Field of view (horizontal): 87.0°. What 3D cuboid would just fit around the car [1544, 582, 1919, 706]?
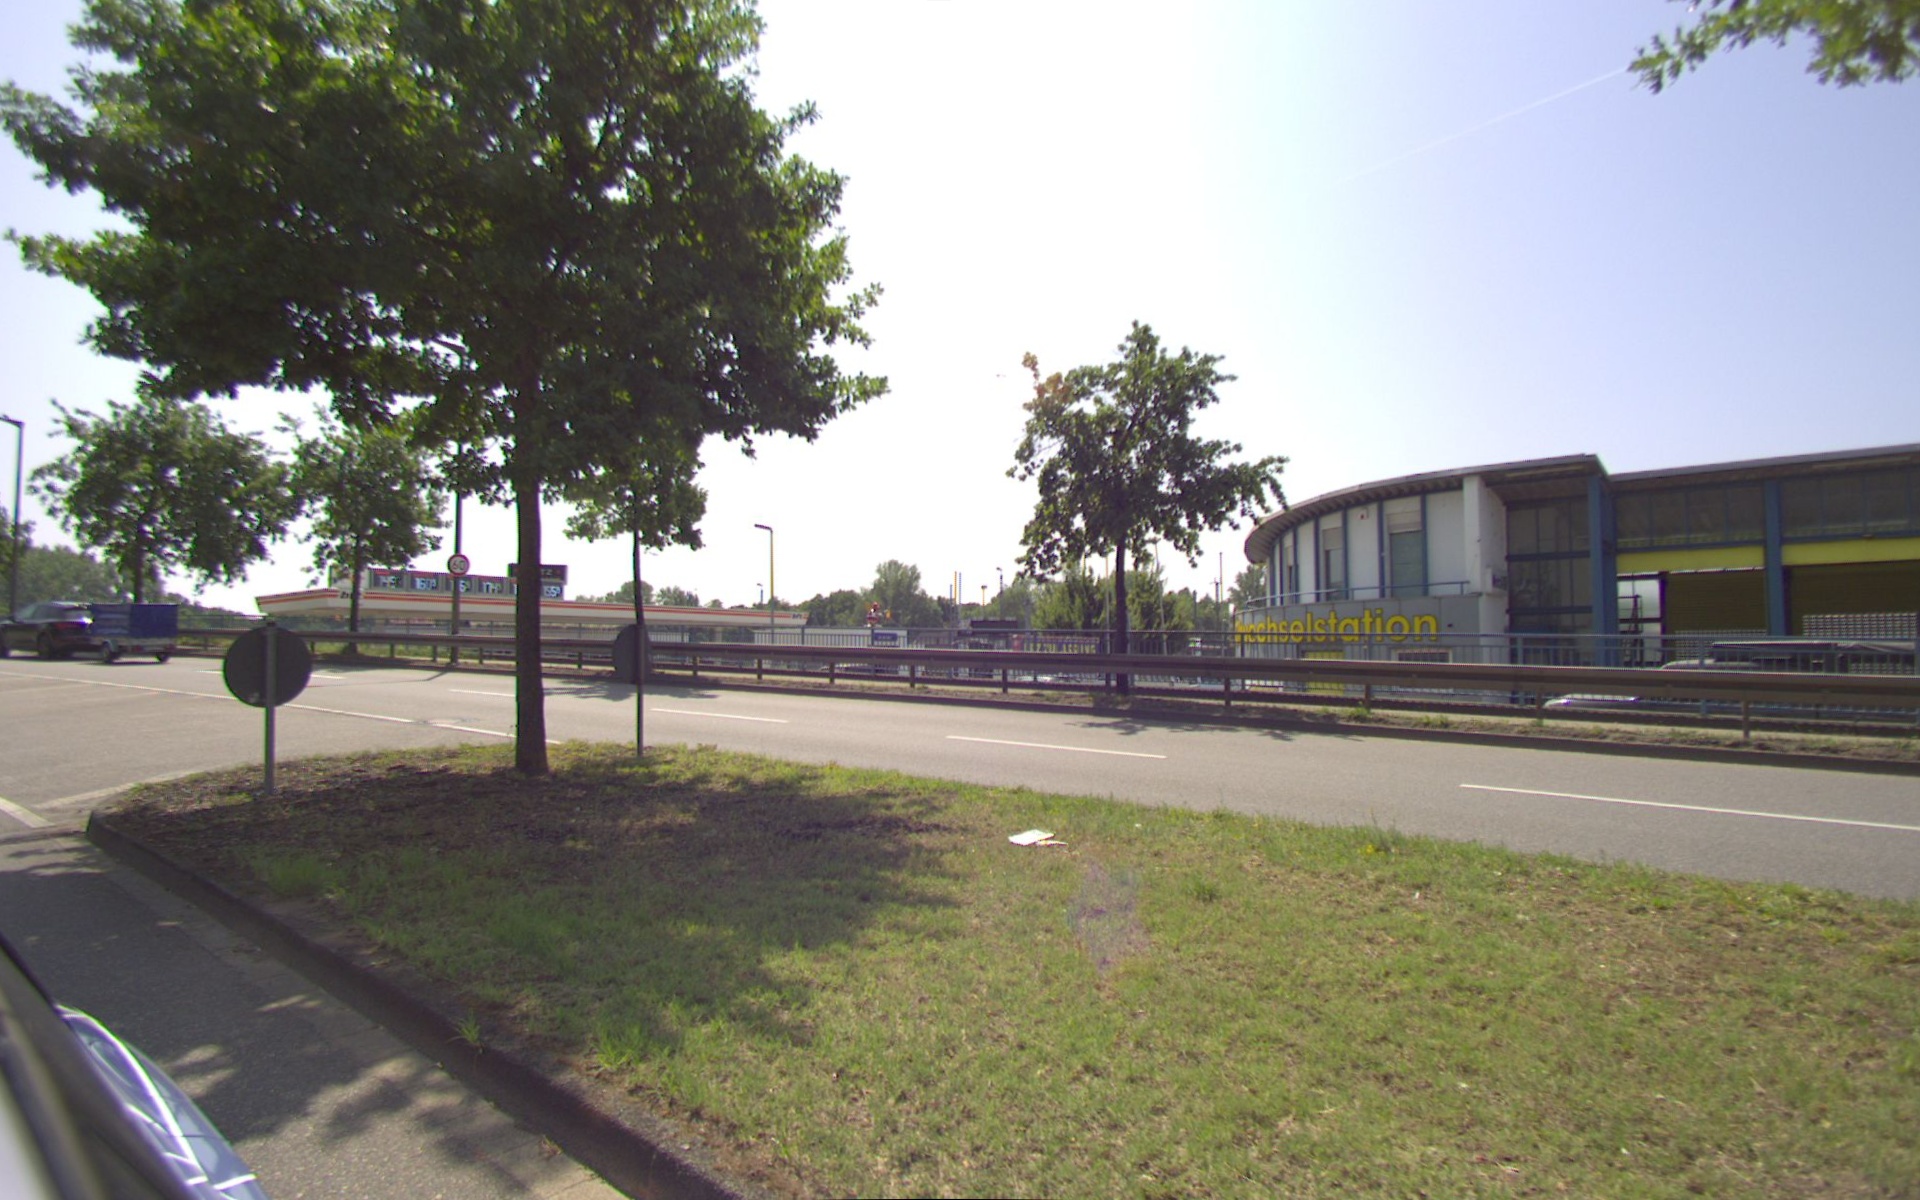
[{"bbox_3d":[11.402,0.638,14.839,4.640,1.581,1.877,-1,-4,43],"label":"car"}]

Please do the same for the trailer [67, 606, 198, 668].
[{"bbox_3d":[-23.050,1.006,28.196,3.288,1.627,1.497,0,-1,24],"label":"trailer"}]

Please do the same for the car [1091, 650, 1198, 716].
[{"bbox_3d":[6.417,2.808,35.027,1.998,2.029,3.947,-1,-2,39],"label":"car"}]

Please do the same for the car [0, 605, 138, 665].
[{"bbox_3d":[-26.556,0.985,29.805,4.381,1.664,1.905,0,-1,24],"label":"car"}]
